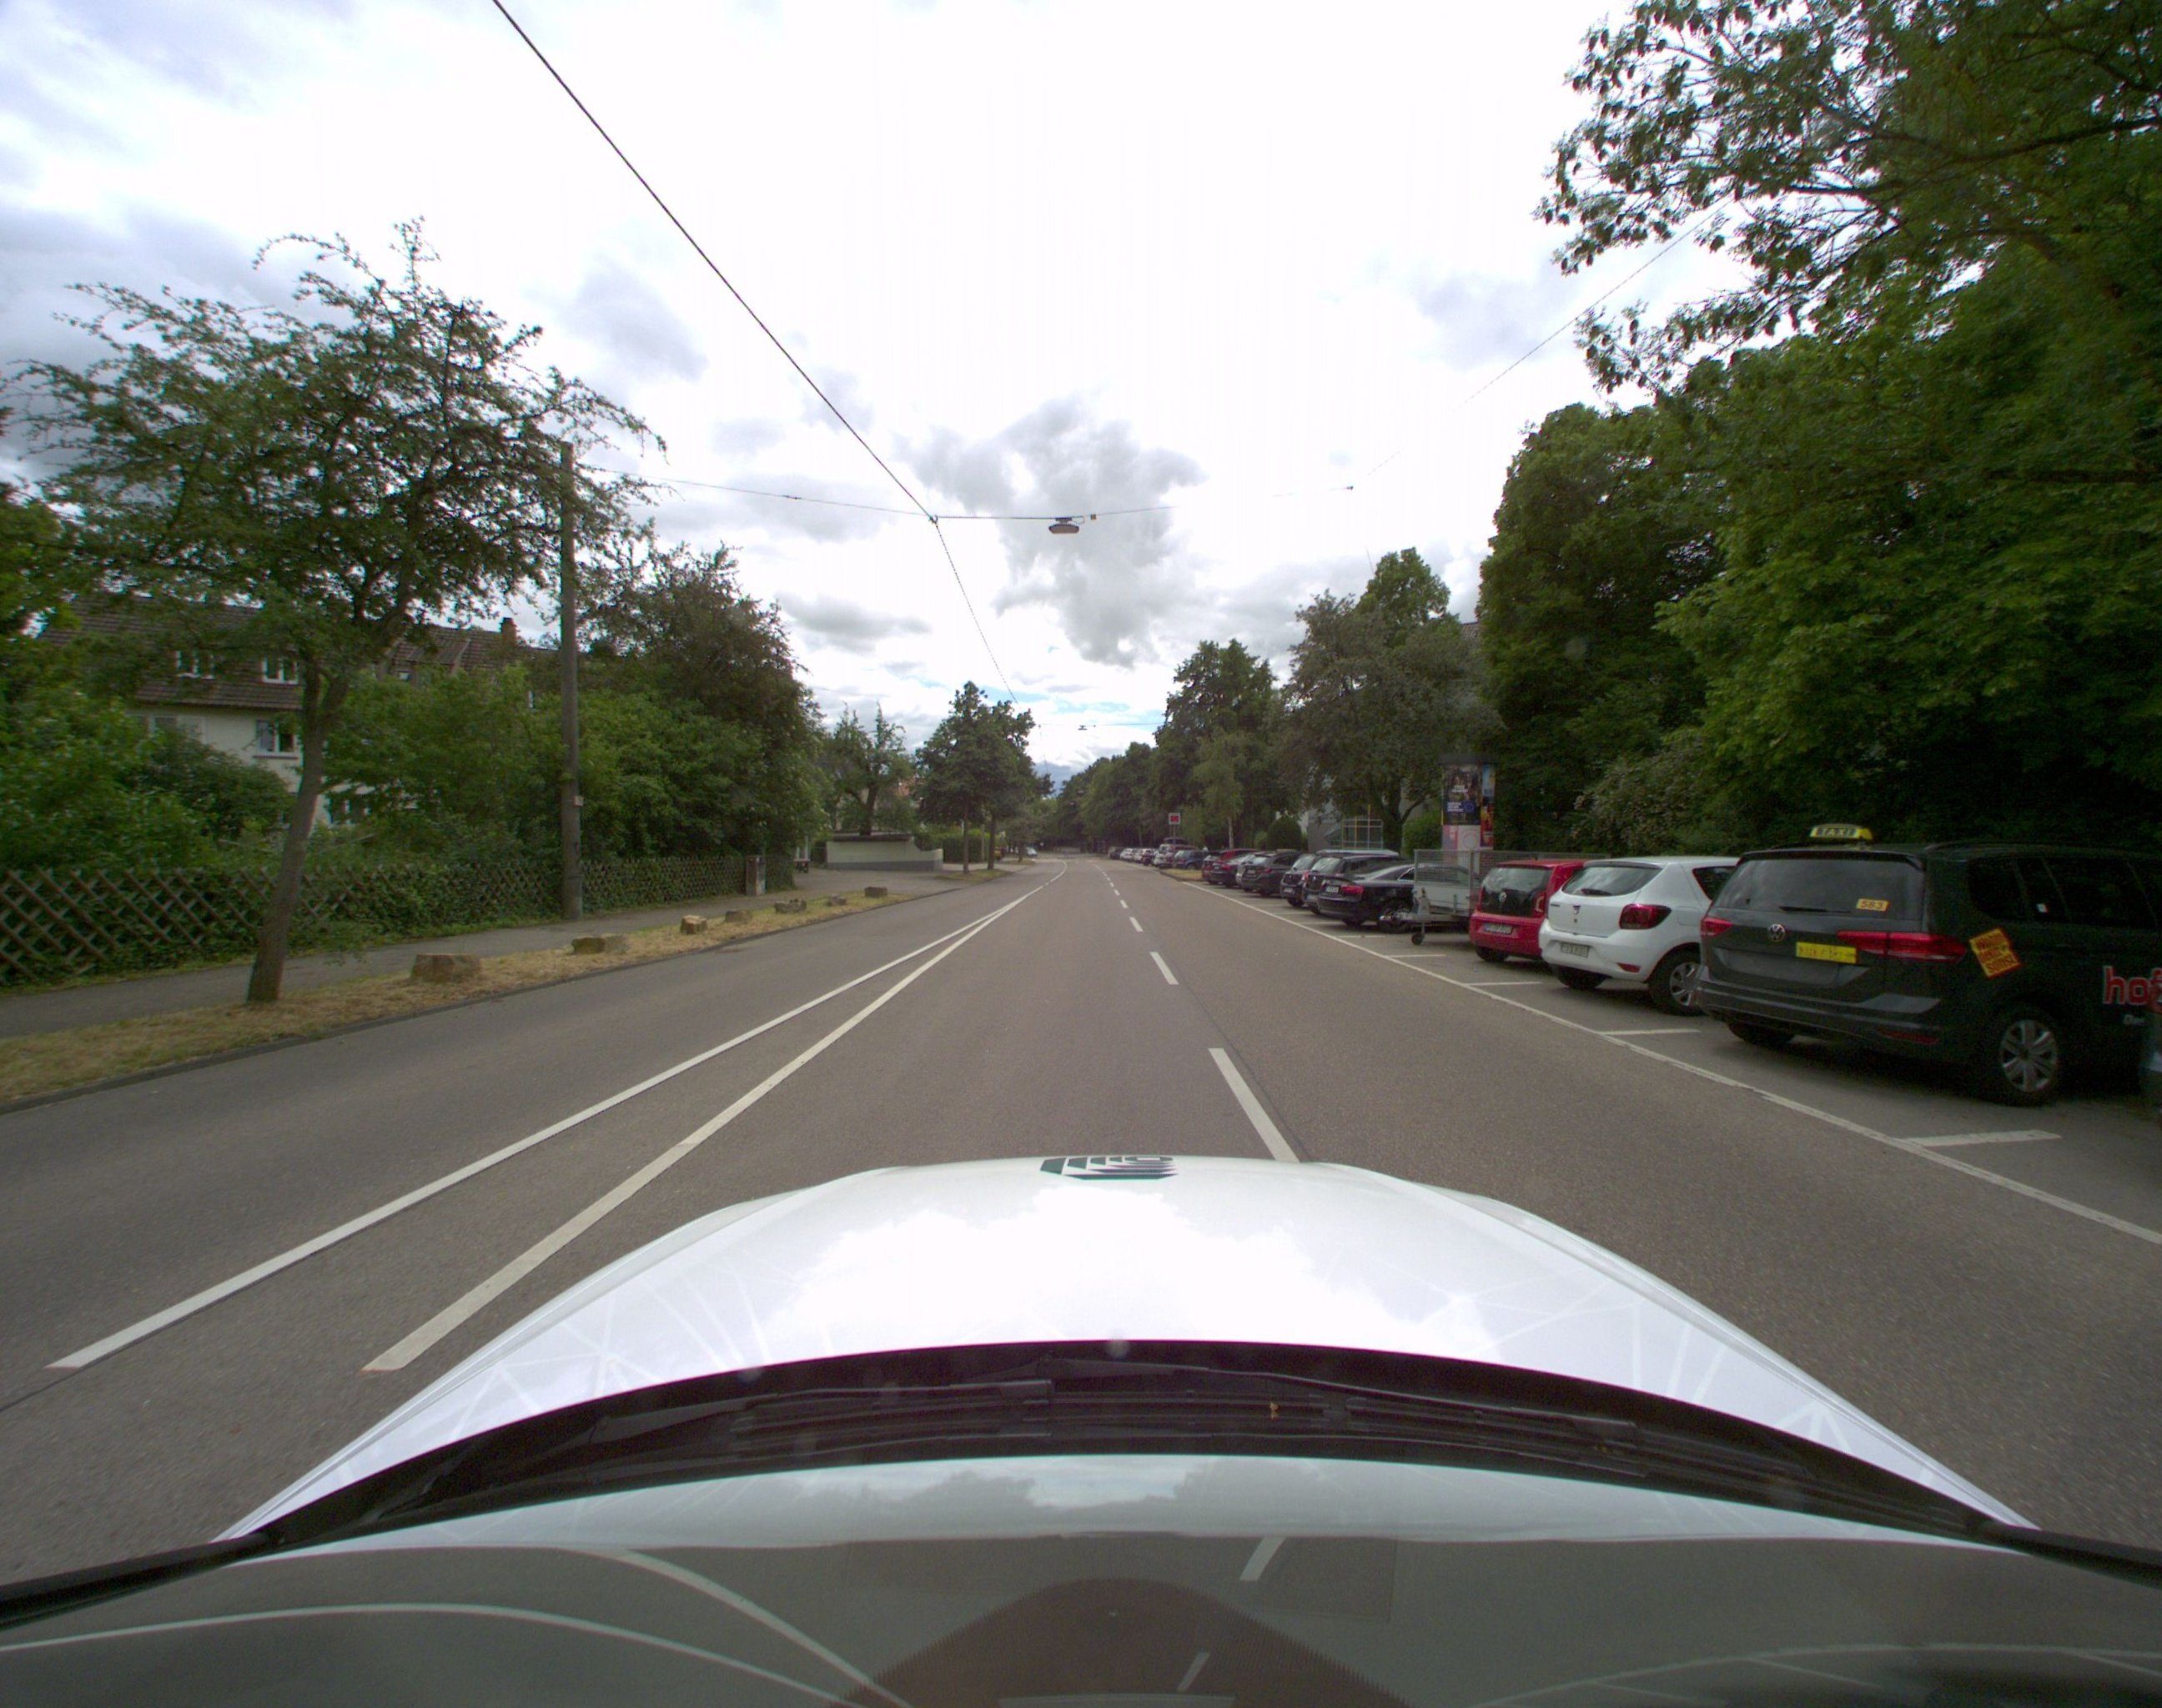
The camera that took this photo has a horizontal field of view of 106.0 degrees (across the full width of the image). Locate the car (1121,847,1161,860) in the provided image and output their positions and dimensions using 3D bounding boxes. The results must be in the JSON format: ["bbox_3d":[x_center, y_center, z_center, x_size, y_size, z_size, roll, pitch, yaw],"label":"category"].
[{"bbox_3d":[6.478,-0.060,87.492,3.902,1.309,1.730,0,0,-24],"label":"car"}]

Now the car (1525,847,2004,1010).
[{"bbox_3d":[6.978,0.713,8.547,3.812,1.529,1.604,1,0,-4],"label":"car"}]

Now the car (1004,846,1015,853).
[{"bbox_3d":[-15.423,-0.972,176.071,1.869,1.471,3.983,0,1,-12],"label":"car"}]

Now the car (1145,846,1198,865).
[{"bbox_3d":[7.382,0.118,66.423,3.897,1.449,1.832,1,0,-20],"label":"car"}]

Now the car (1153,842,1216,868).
[{"bbox_3d":[7.358,0.091,57.943,4.107,1.754,1.772,1,1,-26],"label":"car"}]

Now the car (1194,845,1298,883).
[{"bbox_3d":[6.978,0.396,34.461,4.087,1.515,1.721,0,1,-22],"label":"car"}]

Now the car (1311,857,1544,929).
[{"bbox_3d":[6.778,0.736,16.067,4.035,1.327,1.555,1,0,-9],"label":"car"}]

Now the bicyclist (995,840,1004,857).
[{"bbox_3d":[-8.219,-0.596,82.392,0.843,1.697,0.713,1,1,-3],"label":"bicyclist"}]

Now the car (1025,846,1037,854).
[{"bbox_3d":[-9.068,-0.763,147.832,1.865,1.471,3.991,0,1,-6],"label":"car"}]

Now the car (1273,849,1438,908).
[{"bbox_3d":[7.205,0.629,21.502,3.842,1.455,1.628,1,1,-12],"label":"car"}]

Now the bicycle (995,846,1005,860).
[{"bbox_3d":[-8.230,-0.103,82.563,0.842,1.266,2.650,1,1,-2],"label":"bicycle"}]

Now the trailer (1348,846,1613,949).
[{"bbox_3d":[6.546,0.685,13.490,3.689,1.535,1.640,1,1,-11],"label":"trailer"}]

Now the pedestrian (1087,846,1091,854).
[{"bbox_3d":[1.641,-0.790,163.875,0.736,1.570,0.654,0,0,11],"label":"pedestrian"}]

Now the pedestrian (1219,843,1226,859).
[{"bbox_3d":[14.263,-0.323,82.027,0.646,1.603,0.745,0,0,6],"label":"pedestrian"}]

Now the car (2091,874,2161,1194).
[{"bbox_3d":[6.919,0.821,3.364,4.160,1.406,1.692,1,0,-10],"label":"car"}]

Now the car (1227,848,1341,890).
[{"bbox_3d":[7.232,0.524,29.043,3.616,1.445,1.626,1,1,-15],"label":"car"}]

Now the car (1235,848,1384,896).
[{"bbox_3d":[7.280,0.569,26.045,4.350,1.445,1.627,1,1,-14],"label":"car"}]

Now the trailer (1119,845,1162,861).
[{"bbox_3d":[6.186,-0.146,84.803,4.166,1.573,1.701,1,0,-19],"label":"trailer"}]

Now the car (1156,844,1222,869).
[{"bbox_3d":[7.298,0.167,54.999,4.004,1.620,1.875,1,1,-16],"label":"car"}]

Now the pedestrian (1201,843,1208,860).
[{"bbox_3d":[12.132,-0.260,80.022,0.646,1.671,0.745,0,0,6],"label":"pedestrian"}]

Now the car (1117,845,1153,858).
[{"bbox_3d":[6.383,-0.286,95.853,3.896,1.429,1.732,0,0,-19],"label":"car"}]

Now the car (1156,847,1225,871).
[{"bbox_3d":[6.992,0.304,52.063,4.038,1.405,1.746,1,1,-18],"label":"car"}]

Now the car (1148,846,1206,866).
[{"bbox_3d":[7.270,0.162,61.684,3.973,1.449,1.909,1,0,-15],"label":"car"}]

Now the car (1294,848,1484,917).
[{"bbox_3d":[7.124,0.635,18.931,3.918,1.486,1.610,1,1,-15],"label":"car"}]

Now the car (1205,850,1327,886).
[{"bbox_3d":[7.158,0.545,31.613,4.317,1.341,1.726,1,0,-13],"label":"car"}]

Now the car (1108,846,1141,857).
[{"bbox_3d":[5.621,-0.337,105.852,3.896,1.429,1.732,0,0,-19],"label":"car"}]

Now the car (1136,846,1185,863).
[{"bbox_3d":[6.955,0.044,71.411,3.901,1.449,1.830,0,0,-23],"label":"car"}]

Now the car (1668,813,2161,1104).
[{"bbox_3d":[6.777,0.635,5.980,3.984,1.725,1.676,1,0,-9],"label":"car"}]

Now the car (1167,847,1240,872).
[{"bbox_3d":[7.437,0.326,49.535,3.970,1.405,1.748,1,0,-14],"label":"car"}]

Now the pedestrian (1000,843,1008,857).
[{"bbox_3d":[-9.790,-0.522,103.427,0.972,1.730,0.848,0,0,-4],"label":"pedestrian"}]

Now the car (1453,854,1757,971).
[{"bbox_3d":[7.141,0.743,11.209,3.426,1.445,1.553,1,0,-12],"label":"car"}]

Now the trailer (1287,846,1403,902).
[{"bbox_3d":[7.702,0.564,23.859,2.989,1.542,1.298,1,1,-13],"label":"trailer"}]

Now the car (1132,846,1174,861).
[{"bbox_3d":[7.257,-0.024,82.628,3.898,1.449,1.732,0,0,-21],"label":"car"}]

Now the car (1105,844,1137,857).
[{"bbox_3d":[5.355,-0.511,108.639,3.896,1.668,1.732,0,0,-19],"label":"car"}]
